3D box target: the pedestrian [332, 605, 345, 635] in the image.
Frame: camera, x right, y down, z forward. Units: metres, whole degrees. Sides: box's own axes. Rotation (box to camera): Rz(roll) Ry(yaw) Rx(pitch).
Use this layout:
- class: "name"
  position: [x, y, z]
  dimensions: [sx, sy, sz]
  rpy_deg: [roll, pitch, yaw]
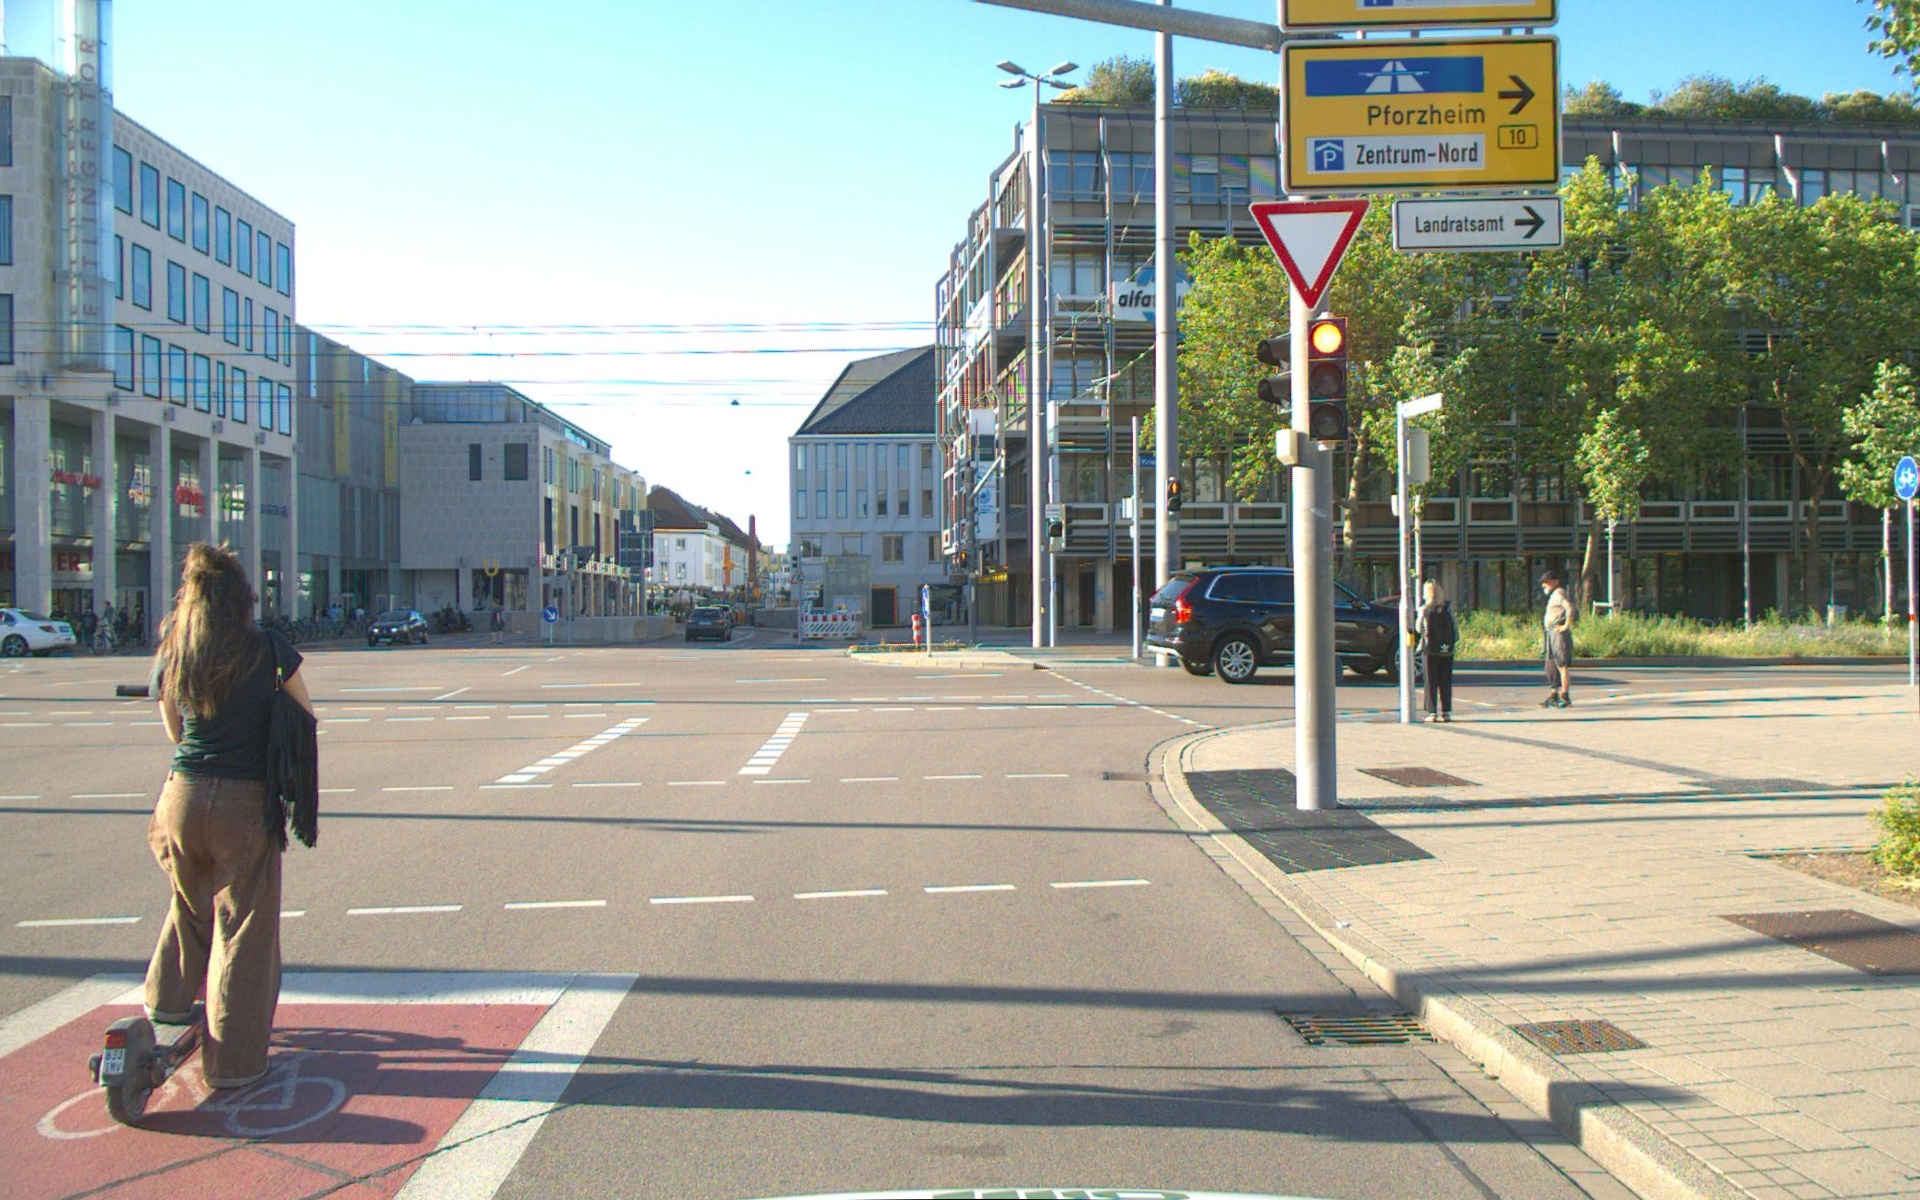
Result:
- class: "pedestrian"
  position: [-35.440, 1.139, 94.340]
  dimensions: [0.462, 1.712, 0.518]
  rpy_deg: [0, -1, 38]

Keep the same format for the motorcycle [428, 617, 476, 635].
- class: "motorcycle"
  position: [-29.930, 1.503, 97.462]
  dimensions: [2.555, 1.010, 1.113]
  rpy_deg: [1, 0, -10]

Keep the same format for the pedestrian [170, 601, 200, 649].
- class: "pedestrian"
  position: [-30.862, 0.986, 65.865]
  dimensions: [0.923, 1.897, 0.539]
  rpy_deg: [-1, 0, 16]

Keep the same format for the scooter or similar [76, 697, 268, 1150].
- class: "scooter or similar"
  position: [-2.244, 0.870, 4.763]
  dimensions: [0.301, 1.127, 0.836]
  rpy_deg: [-1, 0, -12]

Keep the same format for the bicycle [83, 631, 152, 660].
- class: "bicycle"
  position: [-29.921, 1.607, 58.769]
  dimensions: [0.623, 0.919, 2.214]
  rpy_deg: [-1, 0, 29]

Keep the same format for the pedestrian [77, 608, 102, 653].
- class: "pedestrian"
  position: [-32.863, 1.140, 62.437]
  dimensions: [0.580, 1.674, 0.629]
  rpy_deg: [-1, 0, -1]

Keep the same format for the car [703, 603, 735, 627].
- class: "car"
  position: [-15.697, 0.958, 107.825]
  dimensions: [1.625, 1.484, 3.541]
  rpy_deg: [-1, 0, -1]

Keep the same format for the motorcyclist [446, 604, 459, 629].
- class: "motorcyclist"
  position: [-29.948, 0.984, 97.536]
  dimensions: [0.616, 1.430, 0.661]
  rpy_deg: [1, -1, -9]

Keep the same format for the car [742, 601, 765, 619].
- class: "car"
  position: [-18.172, 0.854, 145.622]
  dimensions: [1.625, 1.484, 3.541]
  rpy_deg: [-1, 0, -1]

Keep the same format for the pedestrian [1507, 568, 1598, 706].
- class: "pedestrian"
  position: [7.616, 0.461, 21.290]
  dimensions: [0.854, 1.736, 0.768]
  rpy_deg: [-1, 0, -3]

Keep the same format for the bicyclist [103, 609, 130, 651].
- class: "bicyclist"
  position: [-29.942, 1.060, 58.707]
  dimensions: [0.614, 1.473, 0.588]
  rpy_deg: [-1, 0, 30]

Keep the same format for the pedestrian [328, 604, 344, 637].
- class: "pedestrian"
  position: [-34.549, 1.135, 91.582]
  dimensions: [0.462, 1.759, 0.626]
  rpy_deg: [1, -1, 33]

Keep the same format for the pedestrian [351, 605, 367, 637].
- class: "pedestrian"
  position: [-33.552, 1.155, 92.372]
  dimensions: [0.462, 1.759, 0.692]
  rpy_deg: [0, -1, 37]

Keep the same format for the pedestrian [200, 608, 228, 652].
- class: "pedestrian"
  position: [-28.824, 1.157, 63.952]
  dimensions: [0.760, 1.667, 0.626]
  rpy_deg: [-1, 0, 6]

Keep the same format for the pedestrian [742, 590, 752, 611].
- class: "pedestrian"
  position: [-21.147, 0.043, 164.363]
  dimensions: [0.892, 1.999, 0.822]
  rpy_deg: [1, -1, -1]

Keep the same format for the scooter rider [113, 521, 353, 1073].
- class: "scooter rider"
  position: [-2.151, 0.554, 4.933]
  dimensions: [0.542, 1.556, 0.448]
  rpy_deg: [-1, 0, -9]

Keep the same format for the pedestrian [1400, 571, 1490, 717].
- class: "pedestrian"
  position: [5.564, 0.492, 19.017]
  dimensions: [0.750, 1.642, 0.874]
  rpy_deg: [-1, 0, -2]

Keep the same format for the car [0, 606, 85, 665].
- class: "car"
  position: [-29.251, 1.071, 49.798]
  dimensions: [4.750, 1.713, 1.824]
  rpy_deg: [-1, 0, -5]

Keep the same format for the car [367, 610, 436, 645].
- class: "car"
  position: [-23.451, 1.138, 69.589]
  dimensions: [1.642, 1.381, 4.019]
  rpy_deg: [-1, 0, -2]

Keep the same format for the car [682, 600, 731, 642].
- class: "car"
  position: [-10.828, 0.877, 70.816]
  dimensions: [1.784, 1.713, 3.996]
  rpy_deg: [-1, 0, -5]

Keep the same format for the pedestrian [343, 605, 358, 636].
- class: "pedestrian"
  position: [-34.782, 1.170, 94.349]
  dimensions: [0.461, 1.759, 0.627]
  rpy_deg: [1, -1, 28]

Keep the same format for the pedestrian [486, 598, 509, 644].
- class: "pedestrian"
  position: [-17.601, 0.795, 62.969]
  dimensions: [0.685, 1.718, 0.619]
  rpy_deg: [-1, 0, 0]

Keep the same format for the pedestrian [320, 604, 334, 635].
- class: "pedestrian"
  position: [-36.169, 1.119, 94.516]
  dimensions: [0.462, 1.759, 0.518]
  rpy_deg: [0, -1, 38]

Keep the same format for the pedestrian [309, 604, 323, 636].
- class: "pedestrian"
  position: [-36.174, 1.112, 92.891]
  dimensions: [0.462, 1.759, 0.518]
  rpy_deg: [0, -1, 38]

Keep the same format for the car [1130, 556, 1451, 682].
- class: "car"
  position: [5.282, 0.276, 26.667]
  dimensions: [4.730, 1.896, 1.881]
  rpy_deg: [-1, 0, -12]

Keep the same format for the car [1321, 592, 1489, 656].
- class: "car"
  position: [12.511, 0.645, 46.630]
  dimensions: [4.212, 1.713, 1.820]
  rpy_deg: [-1, 0, -11]

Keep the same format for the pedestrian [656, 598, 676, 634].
- class: "pedestrian"
  position: [-15.178, 0.812, 85.441]
  dimensions: [0.881, 1.814, 0.808]
  rpy_deg: [0, 0, -1]
